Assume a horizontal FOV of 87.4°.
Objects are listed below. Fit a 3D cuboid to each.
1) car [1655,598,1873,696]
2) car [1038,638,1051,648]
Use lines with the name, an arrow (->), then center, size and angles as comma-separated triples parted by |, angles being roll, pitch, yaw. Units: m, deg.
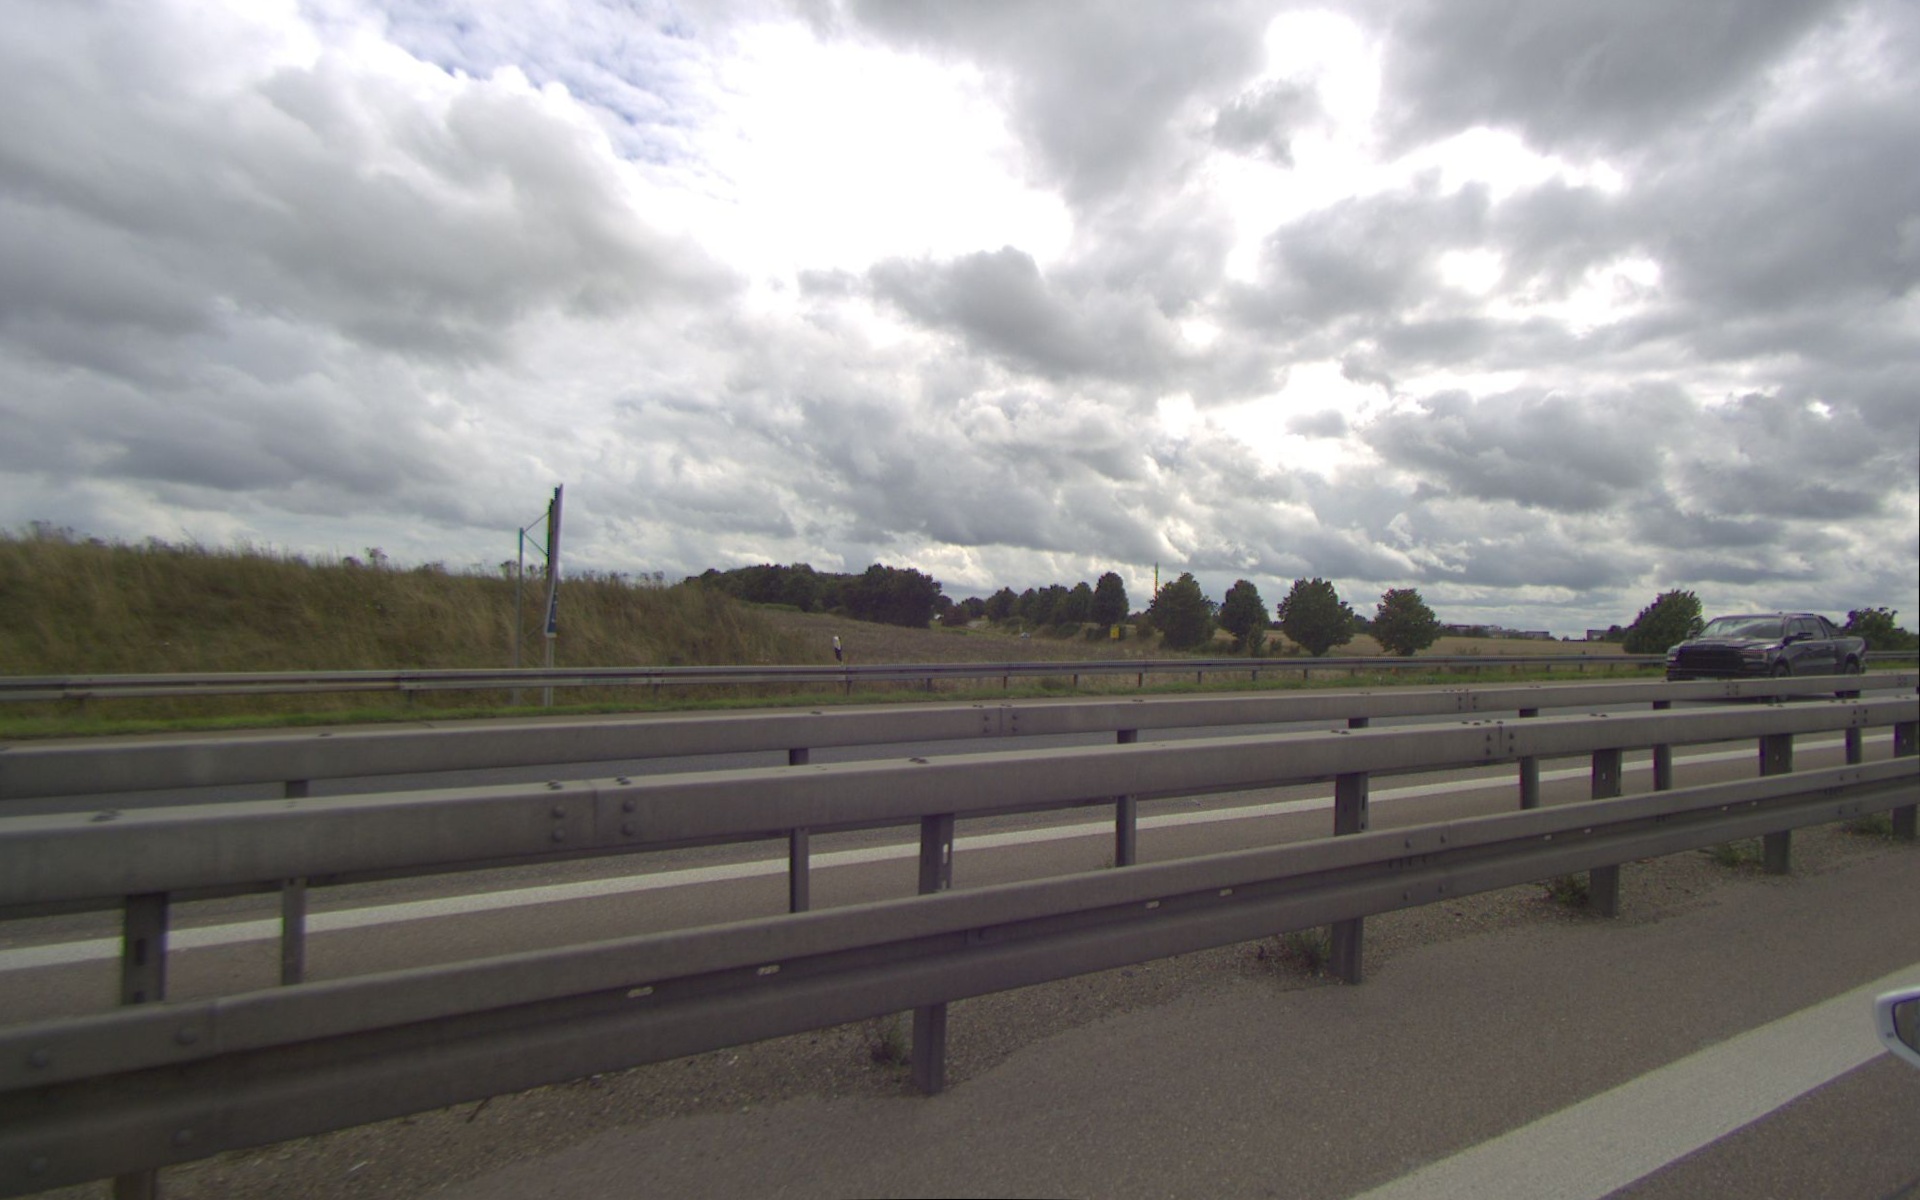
car -> 18.794, 1.049, 23.388 | 6.030, 2.040, 1.984 | 1, -1, -30
car -> 17.213, 8.664, 204.681 | 1.848, 1.951, 3.738 | 2, -2, -10
